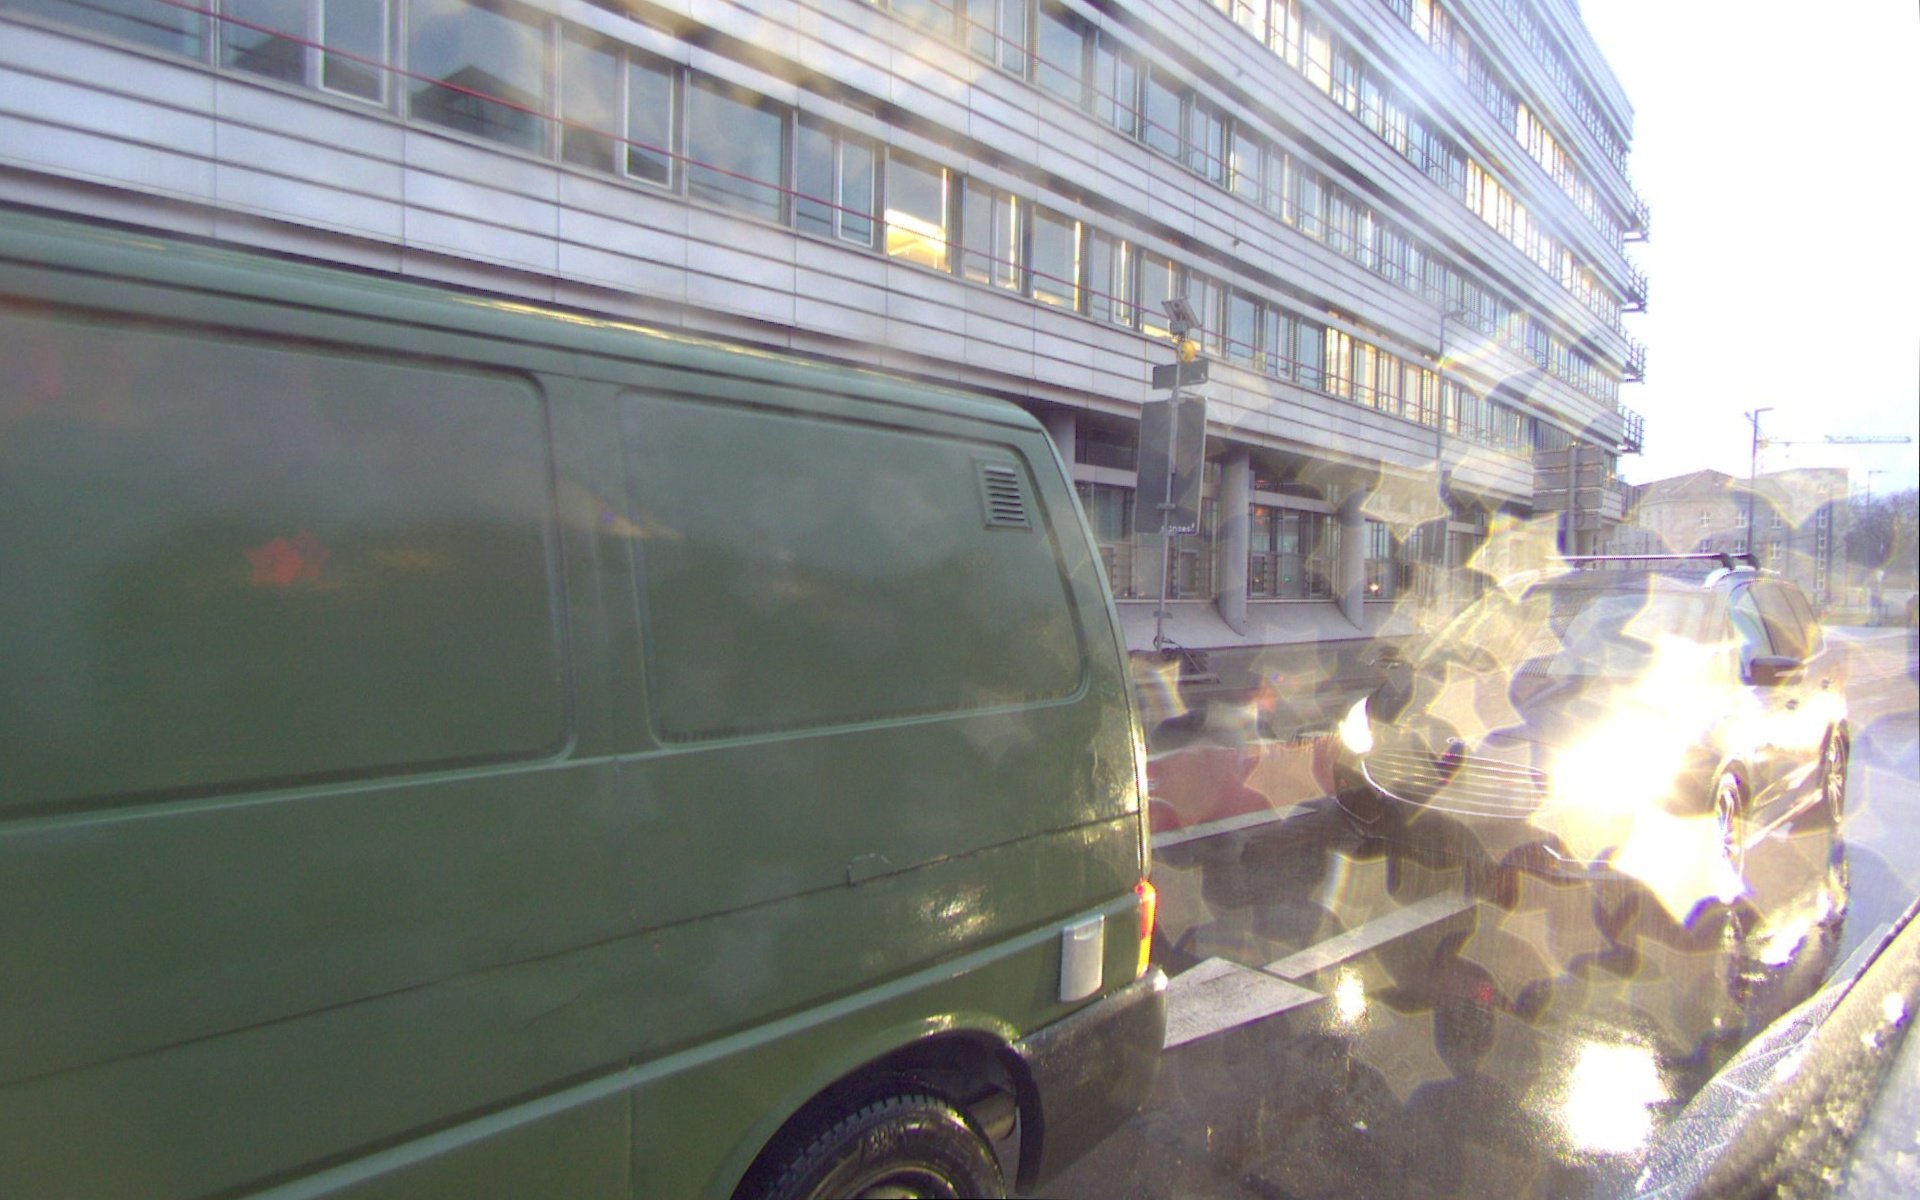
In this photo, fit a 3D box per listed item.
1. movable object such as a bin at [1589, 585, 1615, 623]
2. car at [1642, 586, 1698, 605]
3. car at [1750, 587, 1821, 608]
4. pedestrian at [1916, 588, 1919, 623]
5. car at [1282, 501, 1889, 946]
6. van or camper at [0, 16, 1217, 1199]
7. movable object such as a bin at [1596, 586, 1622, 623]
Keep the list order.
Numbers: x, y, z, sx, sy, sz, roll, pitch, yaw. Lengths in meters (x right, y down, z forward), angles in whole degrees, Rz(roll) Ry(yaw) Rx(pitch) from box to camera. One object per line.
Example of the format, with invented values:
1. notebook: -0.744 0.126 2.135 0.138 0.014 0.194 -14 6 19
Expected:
1. movable object such as a bin: 24.831 0.146 39.132 0.826 1.446 0.665 0 1 -44
2. car: 68.611 -0.472 97.830 1.958 1.693 4.013 0 1 -24
3. car: 72.304 -0.240 88.660 1.958 1.782 4.386 0 1 -24
4. pedestrian: 47.549 0.303 49.674 0.953 1.722 0.746 0 4 -44
5. car: 4.151 0.499 6.371 4.587 1.834 1.887 0 0 -39
6. van or camper: -1.687 0.455 1.295 4.341 1.931 1.760 0 0 -41
7. movable object such as a bin: 25.490 0.162 39.716 0.826 1.446 0.665 0 1 -44
